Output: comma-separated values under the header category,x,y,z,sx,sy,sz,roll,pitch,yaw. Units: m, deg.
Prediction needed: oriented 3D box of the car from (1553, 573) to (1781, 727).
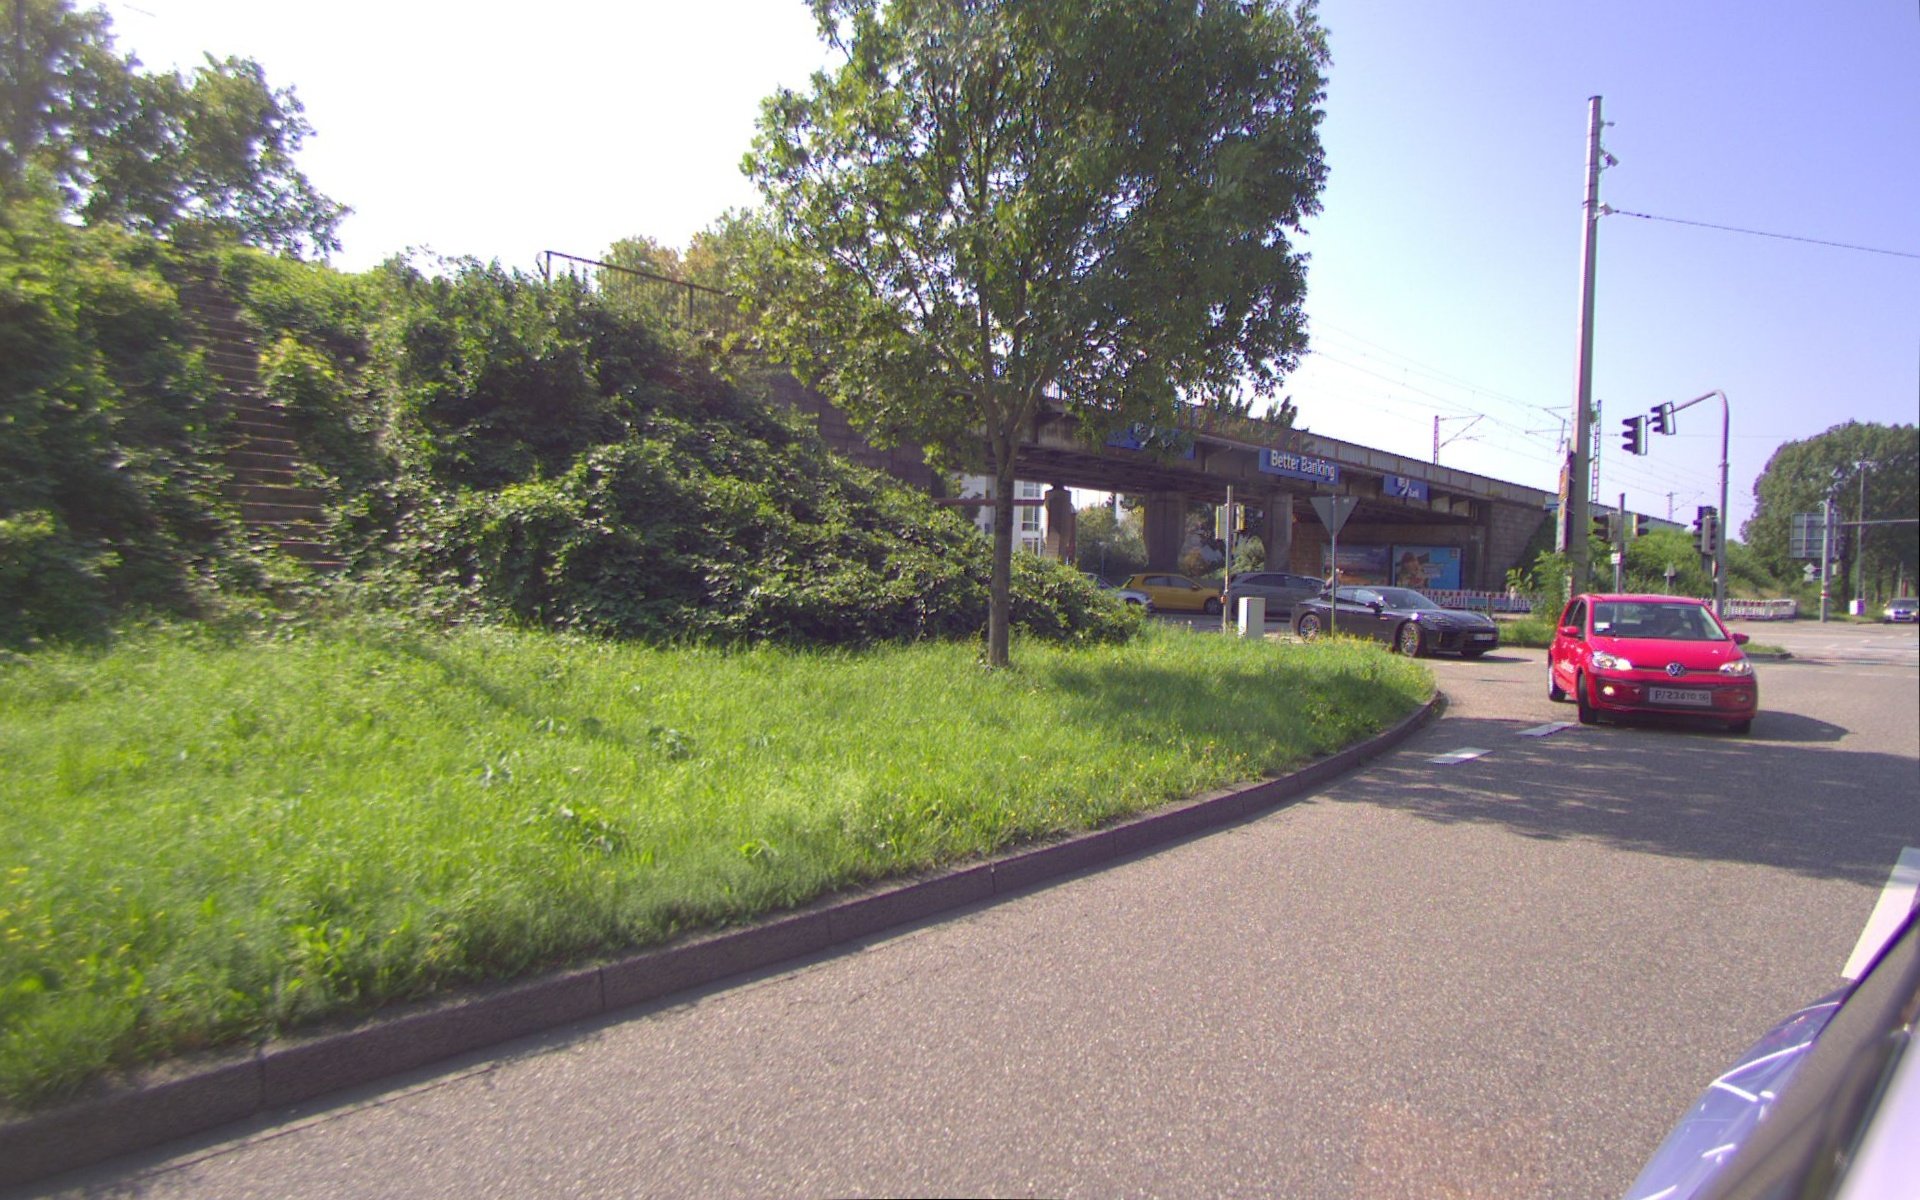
category,x,y,z,sx,sy,sz,roll,pitch,yaw
car,8.336,0.476,12.243,1.626,1.485,3.525,-1,2,25

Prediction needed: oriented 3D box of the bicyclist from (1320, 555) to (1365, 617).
category,x,y,z,sx,sy,sz,roll,pitch,yaw
bicyclist,10.565,-0.389,28.002,0.953,1.679,0.711,2,1,7

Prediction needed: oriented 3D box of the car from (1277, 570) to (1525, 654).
category,x,y,z,sx,sy,sz,roll,pitch,yaw
car,9.531,0.153,22.383,1.959,1.480,4.897,-1,4,-26

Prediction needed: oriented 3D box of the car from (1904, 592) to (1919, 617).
category,x,y,z,sx,sy,sz,roll,pitch,yaw
car,60.590,0.270,63.376,3.935,1.571,1.995,0,1,-45

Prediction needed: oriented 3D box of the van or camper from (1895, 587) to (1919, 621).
category,x,y,z,sx,sy,sz,roll,pitch,yaw
van or camper,55.964,0.258,58.952,4.102,1.799,1.848,3,-2,-42

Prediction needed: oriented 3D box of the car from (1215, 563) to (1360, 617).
category,x,y,z,sx,sy,sz,roll,pitch,yaw
car,10.726,-0.376,33.487,4.410,1.637,1.900,2,2,15

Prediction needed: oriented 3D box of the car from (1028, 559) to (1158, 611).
category,x,y,z,sx,sy,sz,roll,pitch,yaw
car,4.596,-0.545,34.985,4.276,1.540,1.996,3,3,9

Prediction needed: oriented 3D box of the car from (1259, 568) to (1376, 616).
category,x,y,z,sx,sy,sz,roll,pitch,yaw
car,12.792,-0.313,36.413,3.635,1.557,1.723,2,2,9

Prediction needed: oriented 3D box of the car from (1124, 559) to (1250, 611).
category,x,y,z,sx,sy,sz,roll,pitch,yaw
car,8.263,-0.561,37.230,4.276,1.592,1.995,4,1,9
